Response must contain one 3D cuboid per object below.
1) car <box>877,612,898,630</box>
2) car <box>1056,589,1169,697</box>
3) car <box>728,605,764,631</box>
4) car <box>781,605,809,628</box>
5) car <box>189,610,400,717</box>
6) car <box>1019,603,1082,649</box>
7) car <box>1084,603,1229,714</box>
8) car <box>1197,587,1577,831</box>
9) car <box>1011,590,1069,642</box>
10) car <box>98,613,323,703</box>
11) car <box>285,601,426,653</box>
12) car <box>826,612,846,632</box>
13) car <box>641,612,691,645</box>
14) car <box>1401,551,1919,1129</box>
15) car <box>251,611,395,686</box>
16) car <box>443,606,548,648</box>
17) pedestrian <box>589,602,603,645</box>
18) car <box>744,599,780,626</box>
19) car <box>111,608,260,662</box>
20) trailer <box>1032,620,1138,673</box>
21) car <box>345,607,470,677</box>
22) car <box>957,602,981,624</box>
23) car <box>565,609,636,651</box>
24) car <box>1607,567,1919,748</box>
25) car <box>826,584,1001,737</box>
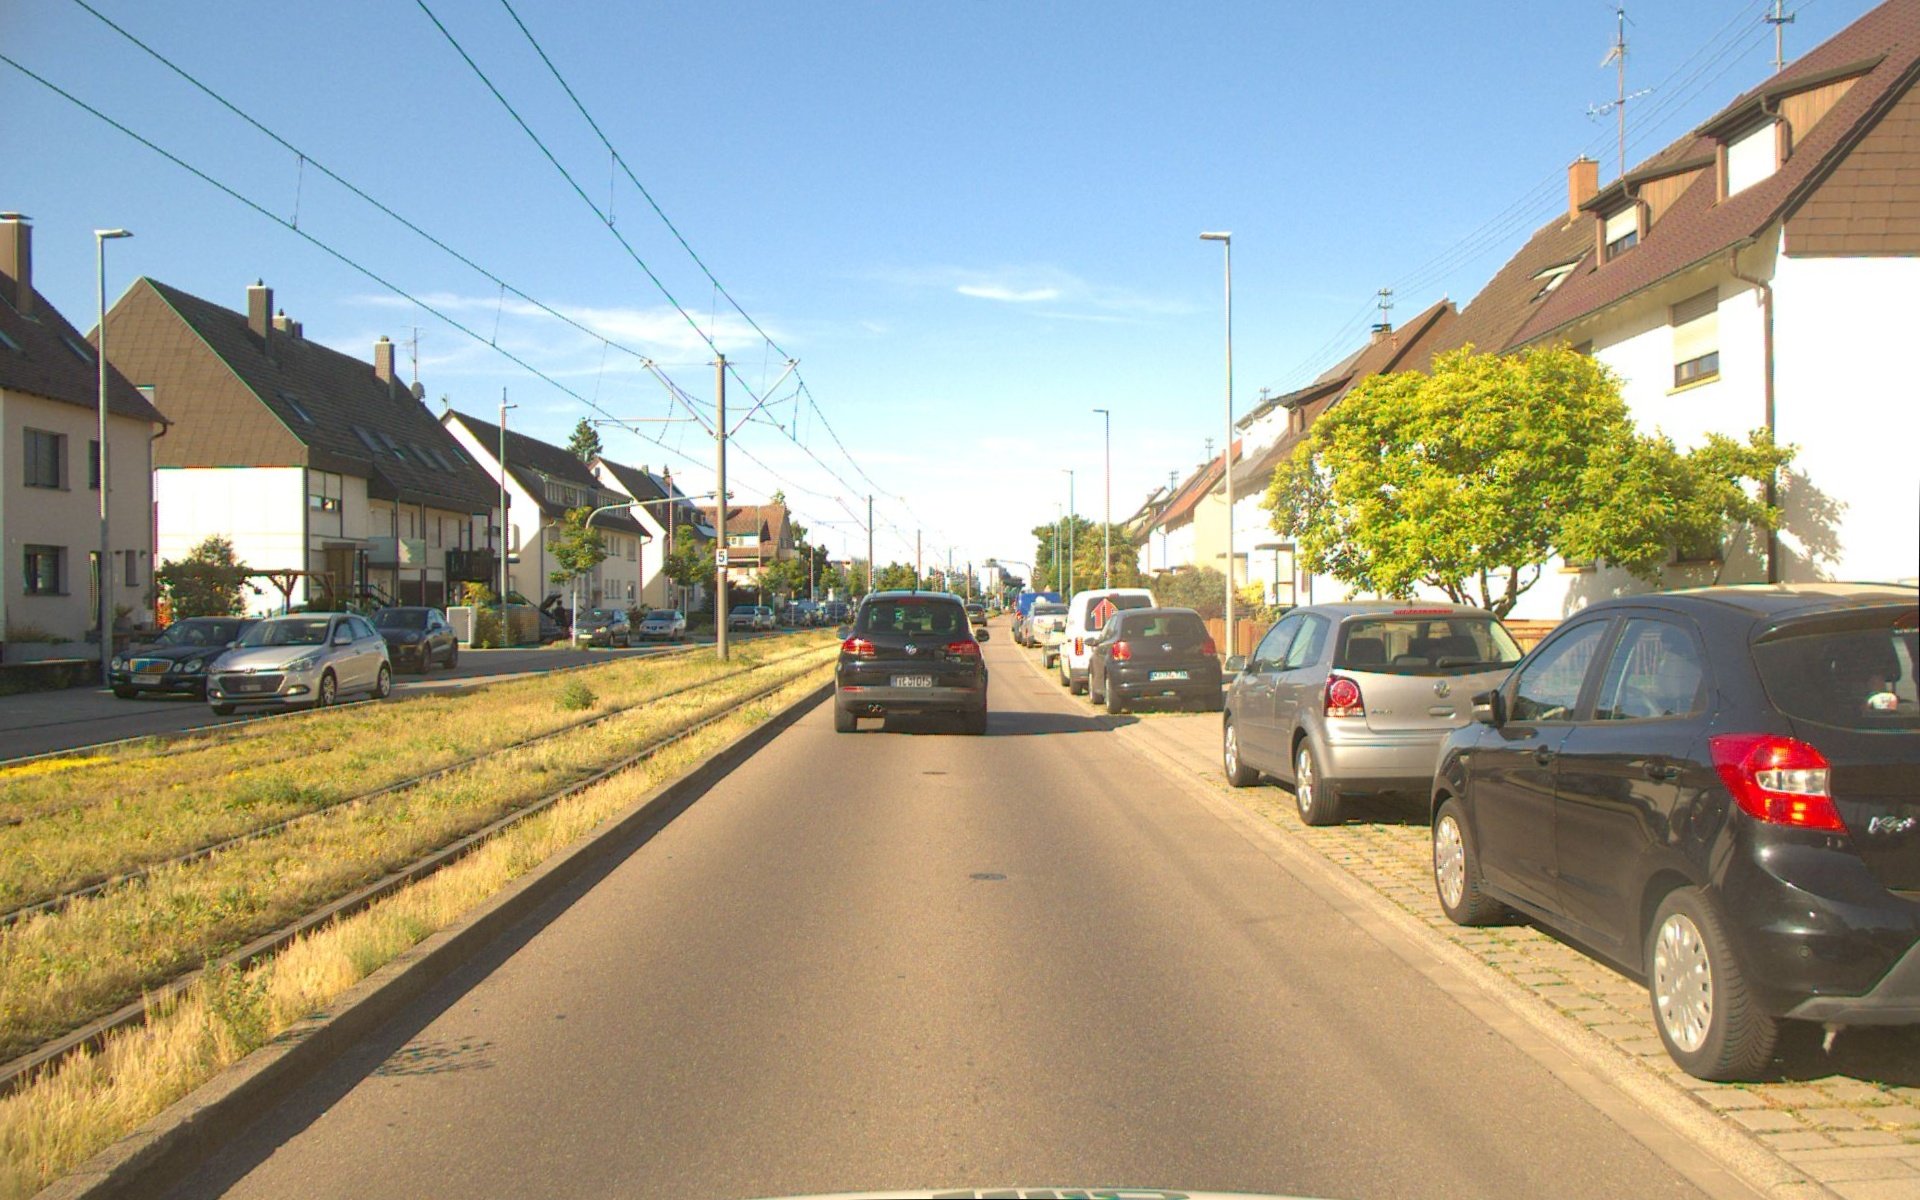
[{"bbox_3d":[-6.890,2.014,157.118,1.835,1.684,3.999,-1,-2,0],"label":"car"},{"bbox_3d":[2.727,0.733,30.486,1.655,1.808,4.655,-1,0,0],"label":"car"},{"bbox_3d":[-12.798,1.054,99.097,1.625,1.523,3.579,-1,0,0],"label":"car"},{"bbox_3d":[-12.109,1.237,121.340,1.626,1.609,3.999,-1,-2,0],"label":"car"},{"bbox_3d":[-10.341,0.981,26.019,1.673,1.517,4.023,-1,-2,0],"label":"car"},{"bbox_3d":[3.104,0.875,57.477,1.750,1.466,4.457,-2,0,-2],"label":"car"},{"bbox_3d":[2.847,0.813,24.684,1.637,1.478,4.125,-1,0,0],"label":"car"},{"bbox_3d":[3.007,0.703,12.617,1.583,1.501,4.447,-1,0,-2],"label":"car"},{"bbox_3d":[3.047,0.584,63.852,1.953,1.894,4.917,-1,0,0],"label":"car"},{"bbox_3d":[-13.887,1.021,31.017,1.838,1.549,4.882,0,0,2],"label":"car"},{"bbox_3d":[-20.247,0.892,55.517,4.083,1.645,1.758,-1,0,-4],"label":"car"},{"bbox_3d":[-10.781,1.923,144.241,1.435,1.706,3.287,-1,-1,0],"label":"car"},{"bbox_3d":[-13.485,1.305,75.944,1.585,1.434,3.717,-1,-2,0],"label":"car"},{"bbox_3d":[3.081,0.633,6.493,1.632,1.574,3.835,-3,0,0],"label":"car"},{"bbox_3d":[-13.875,1.012,36.248,1.489,1.501,4.201,-1,0,0],"label":"car"},{"bbox_3d":[-18.601,1.067,66.355,3.828,1.595,1.732,-1,0,-7],"label":"car"},{"bbox_3d":[-15.298,0.987,69.513,0.459,1.776,0.535,-1,0,-1],"label":"pedestrian"},{"bbox_3d":[-12.560,0.780,105.258,1.766,1.660,4.000,-1,0,0],"label":"car"},{"bbox_3d":[-25.781,1.160,55.165,4.071,1.683,1.857,-1,0,3],"label":"car"},{"bbox_3d":[3.002,1.100,40.614,2.159,1.113,4.370,-2,0,-1],"label":"trailer"},{"bbox_3d":[-13.853,1.009,41.769,1.767,1.625,4.809,-1,0,-3],"label":"car"},{"bbox_3d":[0.579,0.876,110.274,1.540,1.415,3.614,-1,0,0],"label":"car"},{"bbox_3d":[-13.665,1.134,63.052,1.584,1.478,3.720,-1,0,4],"label":"car"},{"bbox_3d":[8.302,0.446,14.523,1.969,1.470,4.842,-2,0,-26],"label":"car"},{"bbox_3d":[-0.693,0.710,20.845,1.777,1.700,4.250,1,-1,-7],"label":"car"}]
